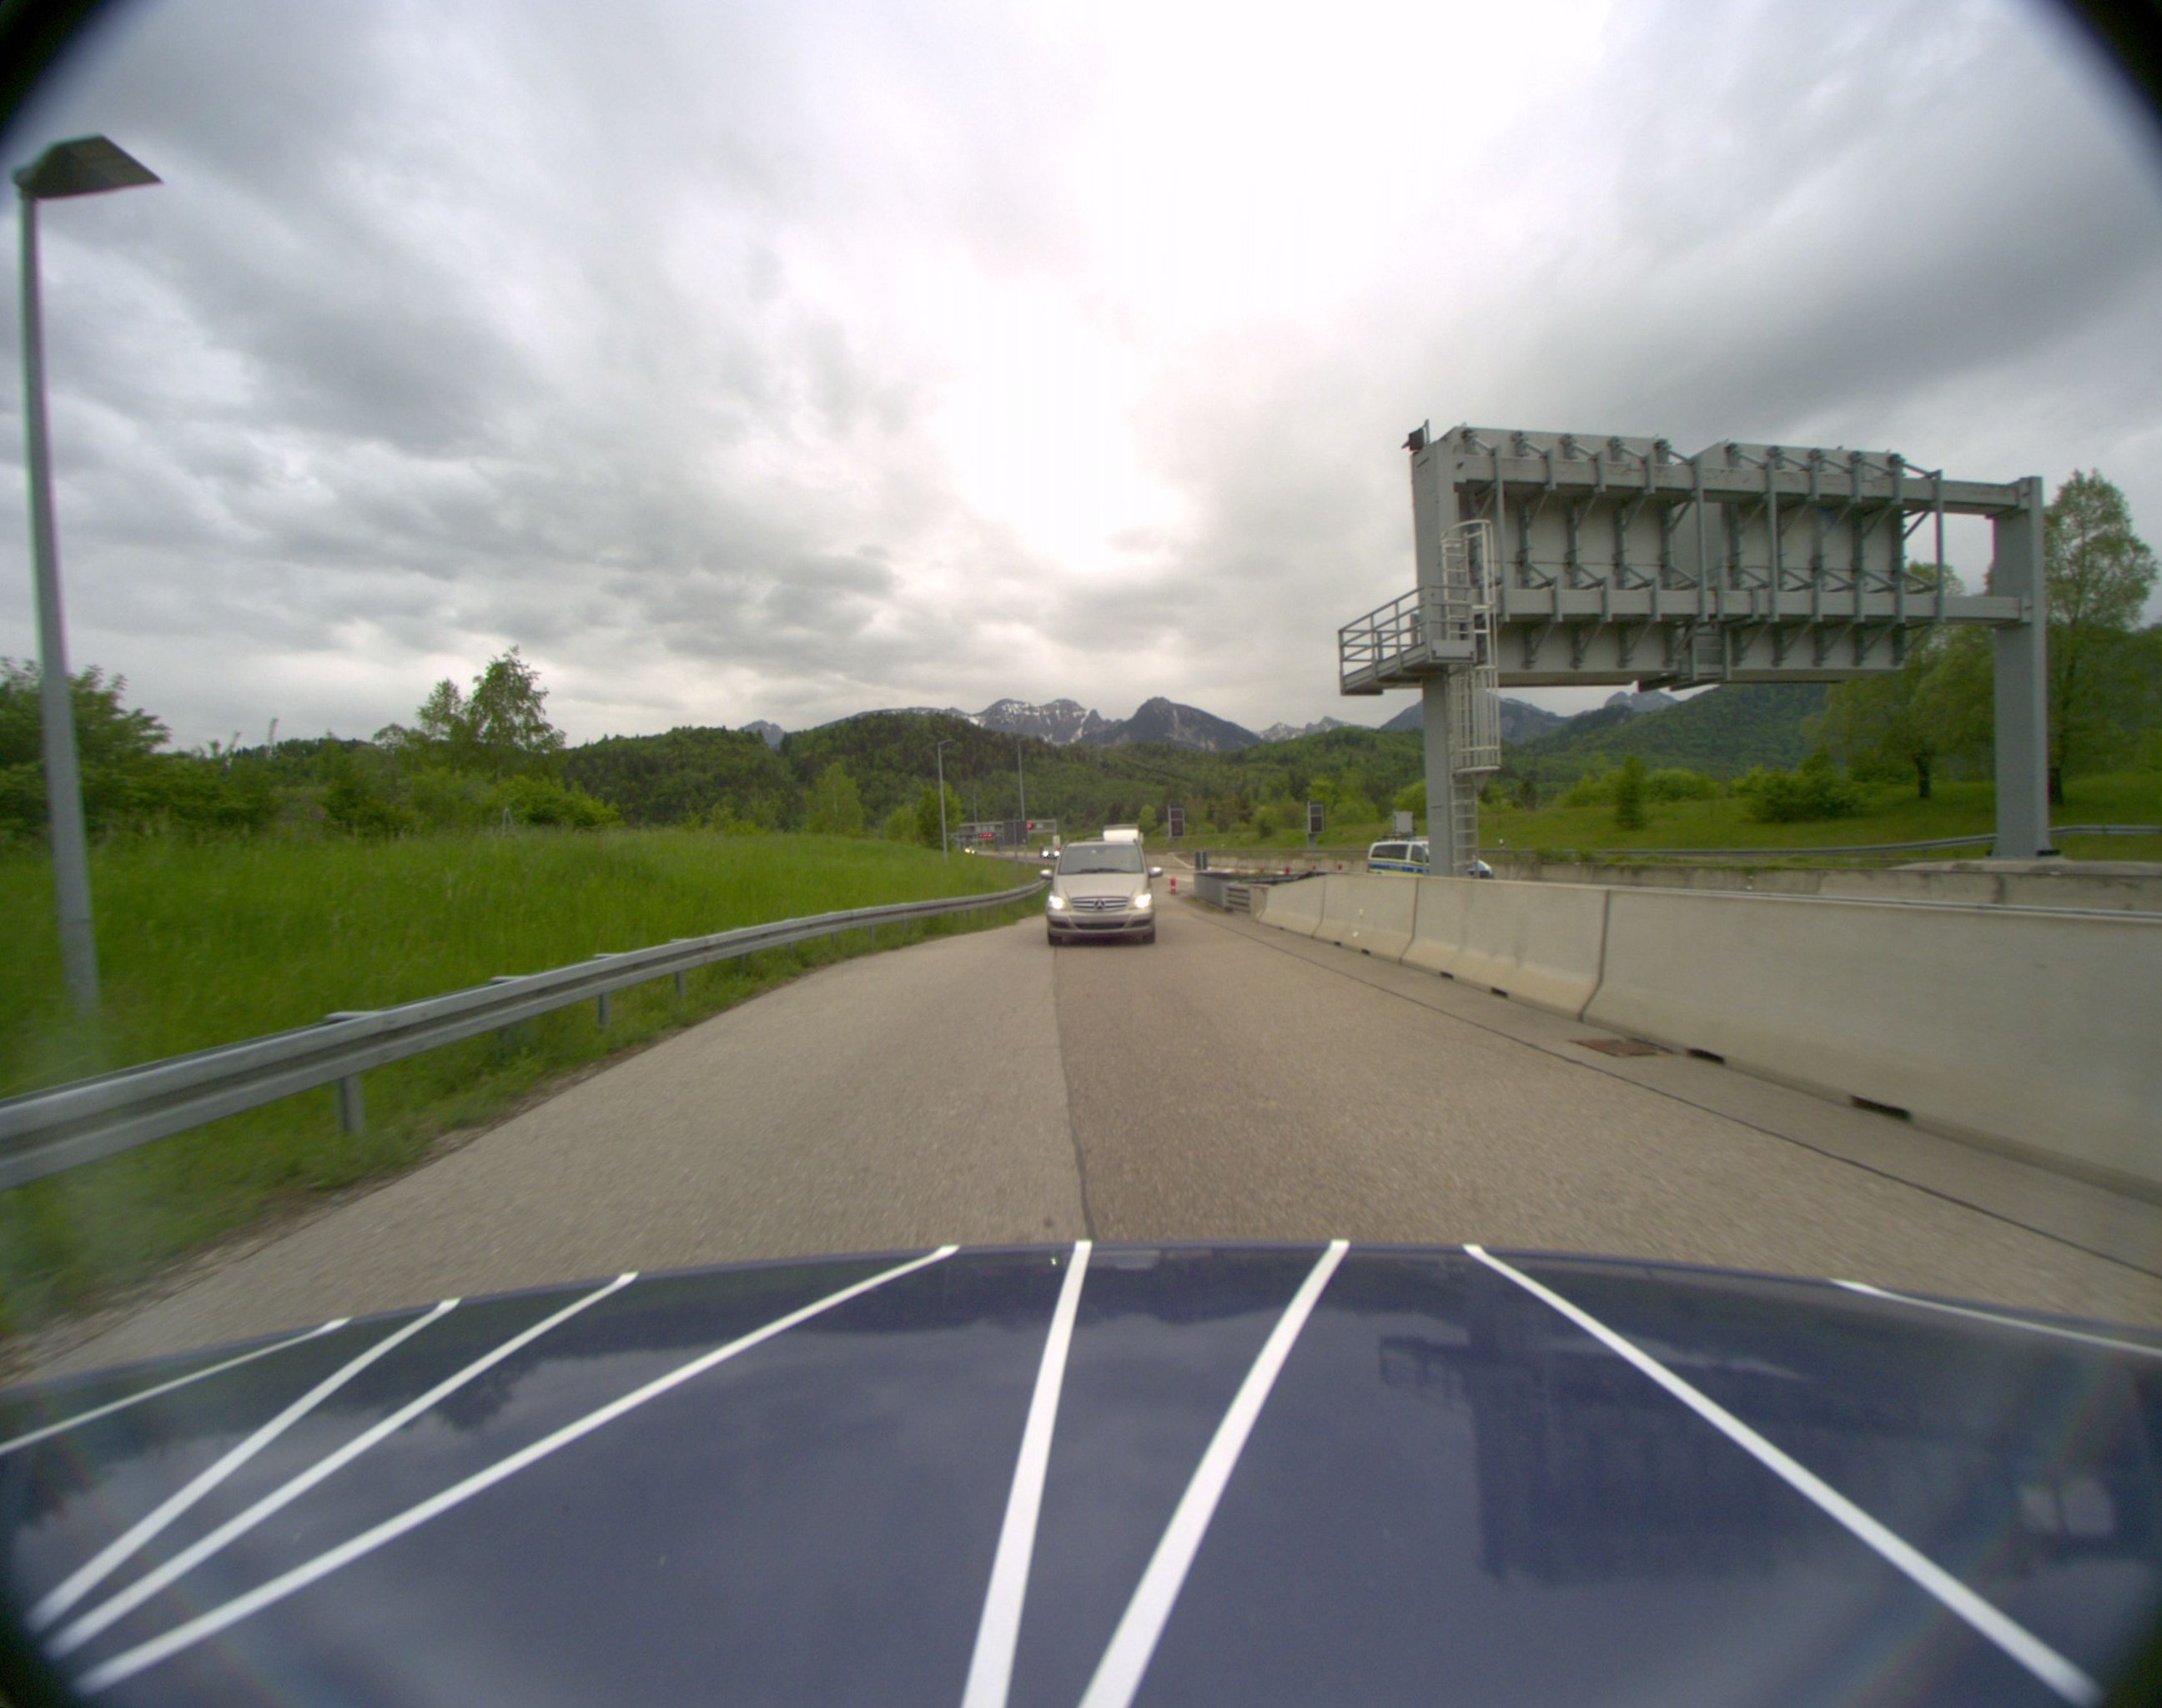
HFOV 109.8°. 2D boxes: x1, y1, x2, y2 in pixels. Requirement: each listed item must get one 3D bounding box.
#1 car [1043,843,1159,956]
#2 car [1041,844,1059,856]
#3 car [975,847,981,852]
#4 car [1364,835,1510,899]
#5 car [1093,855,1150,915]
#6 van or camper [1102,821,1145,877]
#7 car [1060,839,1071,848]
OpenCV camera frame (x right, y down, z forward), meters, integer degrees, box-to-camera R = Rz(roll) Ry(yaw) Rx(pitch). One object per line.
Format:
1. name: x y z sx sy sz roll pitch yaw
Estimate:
1. car: 0.456 0.710 15.100 1.862 1.833 5.617 0 1 3
2. car: -4.327 -0.596 104.137 1.722 1.629 4.343 -1 1 -12
3. car: -32.853 -1.331 242.978 1.738 1.646 3.996 -1 1 -11
4. car: 12.355 0.398 26.838 2.105 2.002 5.046 -1 1 -11
5. car: 1.250 0.883 23.356 1.591 1.662 4.001 -1 0 3
6. van or camper: 2.778 -0.325 50.067 2.581 3.372 7.356 -1 1 3
7. car: -3.560 -2.288 172.071 1.740 1.935 4.169 -2 1 -13
